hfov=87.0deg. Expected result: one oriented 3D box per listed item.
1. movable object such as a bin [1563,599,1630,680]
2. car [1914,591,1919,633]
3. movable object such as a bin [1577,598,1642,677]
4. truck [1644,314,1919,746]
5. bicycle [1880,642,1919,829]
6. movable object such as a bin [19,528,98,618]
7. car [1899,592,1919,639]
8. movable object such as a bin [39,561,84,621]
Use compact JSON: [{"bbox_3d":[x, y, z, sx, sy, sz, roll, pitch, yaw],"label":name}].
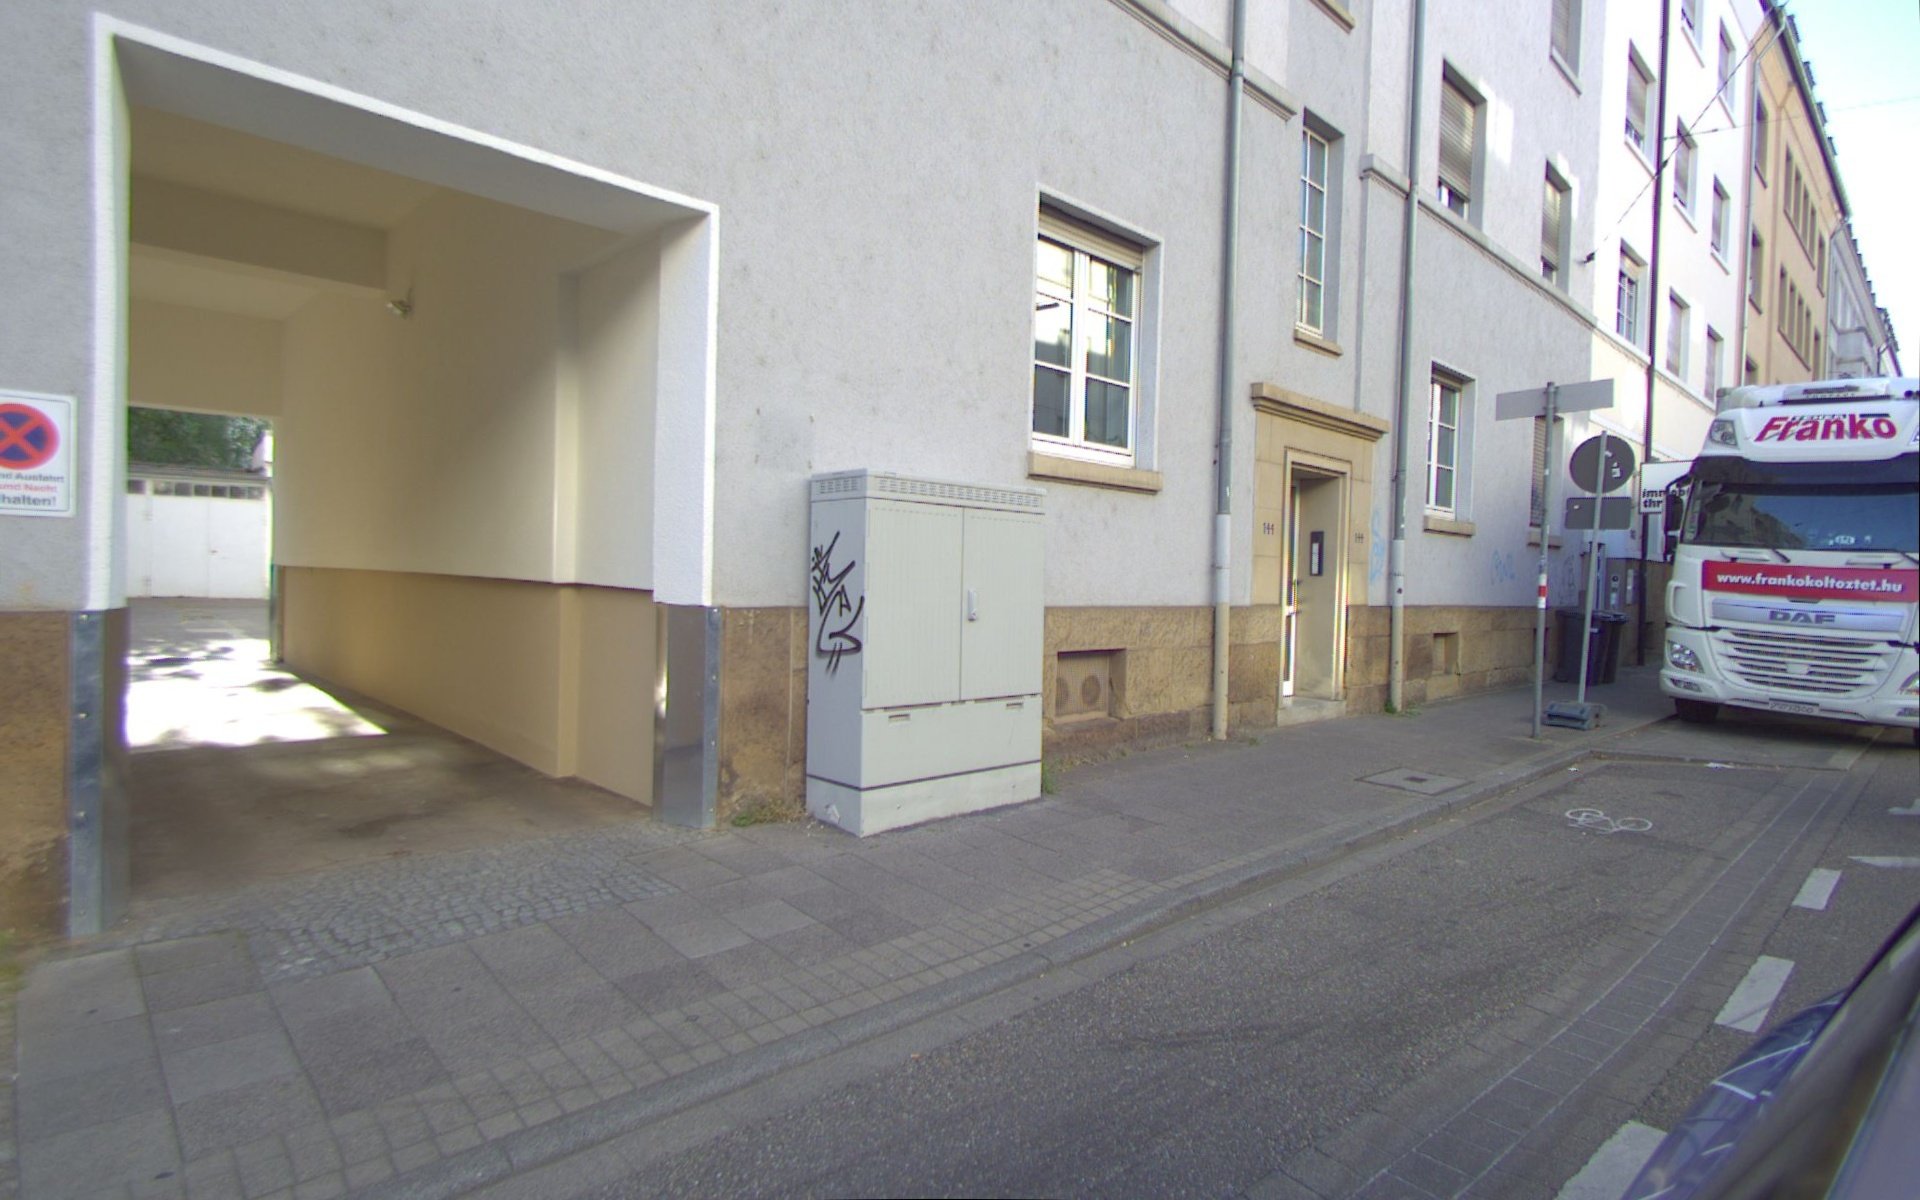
[{"bbox_3d":[9.171,0.548,14.580,0.560,1.107,0.665,0,2,-43],"label":"movable object such as a bin"},{"bbox_3d":[37.675,0.457,38.623,4.080,1.551,1.681,0,0,-44],"label":"car"},{"bbox_3d":[9.651,0.540,15.031,0.560,1.107,0.665,0,2,-43],"label":"movable object such as a bin"},{"bbox_3d":[12.576,-0.682,13.873,11.621,3.975,2.778,0,2,-44],"label":"truck"},{"bbox_3d":[6.717,0.844,6.414,1.847,1.117,0.620,1,1,-25],"label":"bicycle"},{"bbox_3d":[-15.153,-0.458,17.010,0.946,1.426,1.597,0,2,-43],"label":"movable object such as a bin"},{"bbox_3d":[33.505,0.525,34.726,4.080,1.551,1.681,0,0,-44],"label":"car"},{"bbox_3d":[-14.376,-0.151,16.191,0.518,0.922,0.580,0,2,-43],"label":"movable object such as a bin"}]
